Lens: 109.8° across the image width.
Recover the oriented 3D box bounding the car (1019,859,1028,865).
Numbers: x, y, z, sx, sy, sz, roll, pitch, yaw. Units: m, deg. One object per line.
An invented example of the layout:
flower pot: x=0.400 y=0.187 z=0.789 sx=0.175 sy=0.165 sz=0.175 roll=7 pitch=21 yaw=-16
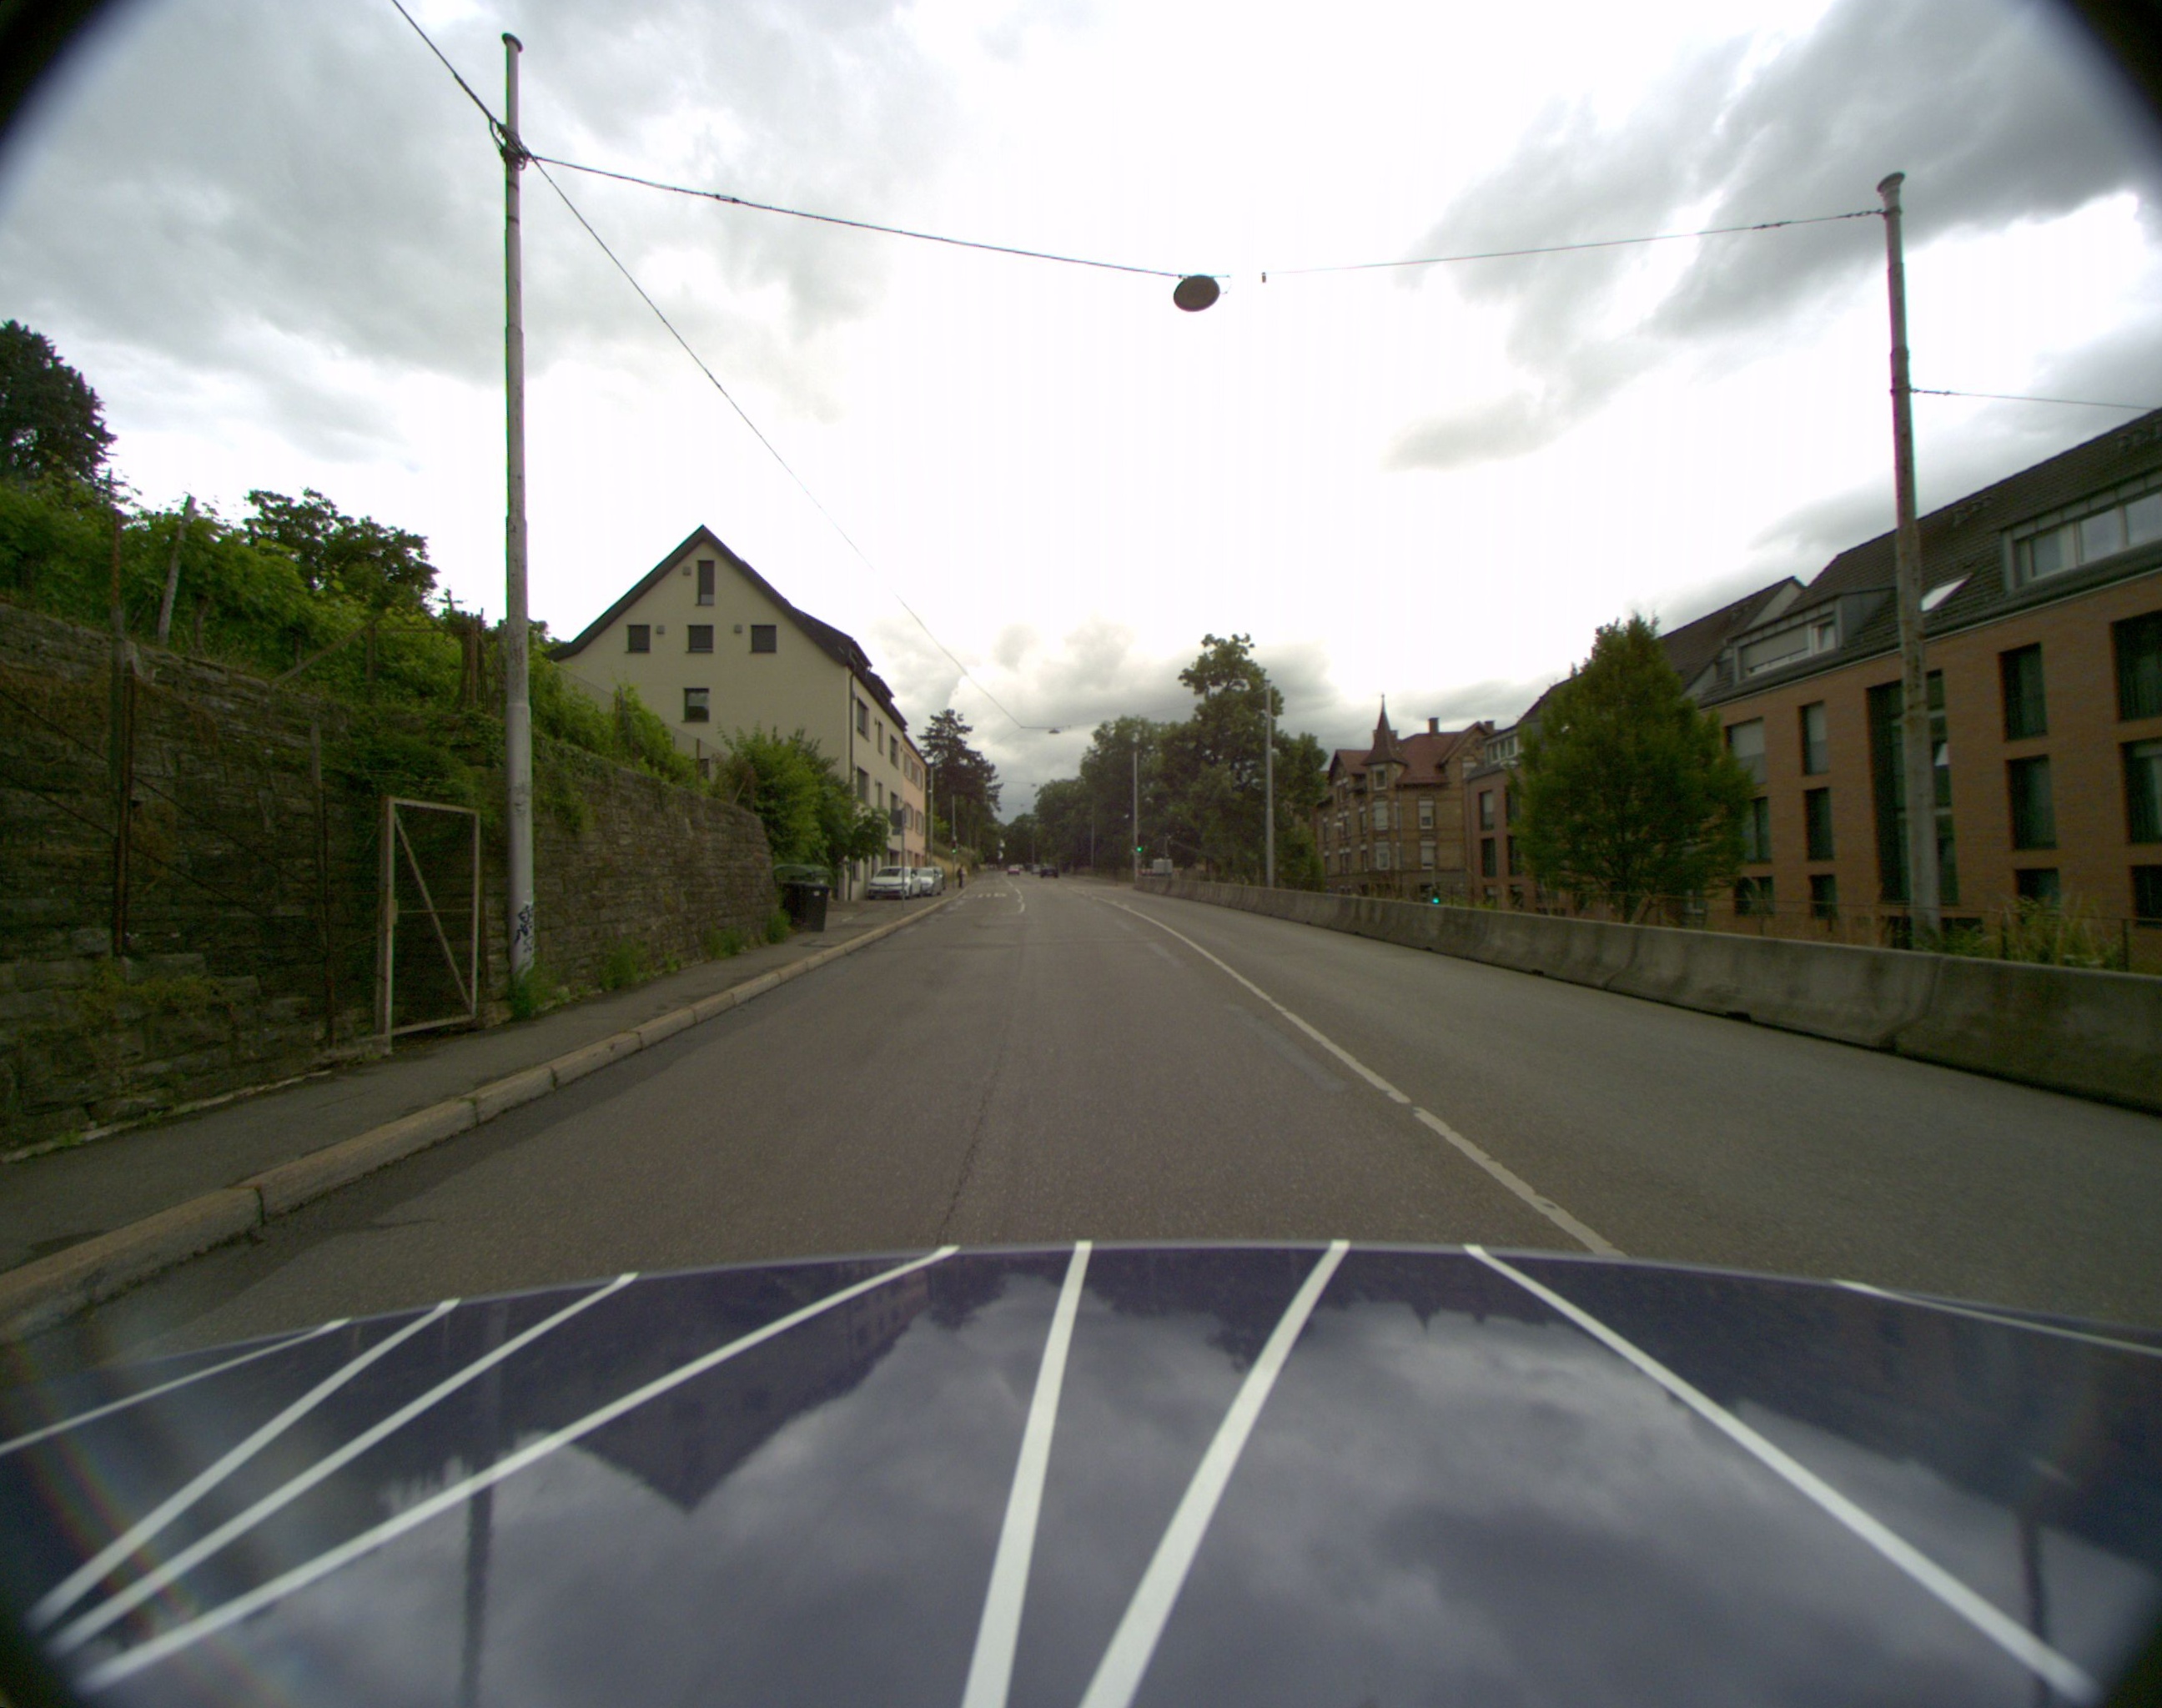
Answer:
car: x=-15.265 y=2.065 z=200.764 sx=1.998 sy=1.521 sz=4.000 roll=-2 pitch=0 yaw=1

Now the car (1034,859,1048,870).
car: x=-6.350 y=1.669 z=121.289 sx=1.998 sy=1.652 sz=4.000 roll=-1 pitch=0 yaw=1

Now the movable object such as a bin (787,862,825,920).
movable object such as a bin: x=-7.520 y=0.998 z=20.785 sx=0.753 sy=1.537 sz=1.064 roll=-1 pitch=0 yaw=-8

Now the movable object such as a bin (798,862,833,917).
movable object such as a bin: x=-7.695 y=1.013 z=22.075 sx=0.753 sy=1.533 sz=1.064 roll=-1 pitch=0 yaw=-8

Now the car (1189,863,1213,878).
car: x=13.606 y=1.852 z=86.406 sx=1.999 sy=1.543 sz=4.000 roll=-1 pitch=0 yaw=-1

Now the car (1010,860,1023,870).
car: x=-9.339 y=1.588 z=110.024 sx=1.646 sy=1.429 sz=3.999 roll=-1 pitch=-1 yaw=-3

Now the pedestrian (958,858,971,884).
pedestrian: x=-7.944 y=1.157 z=52.030 sx=0.735 sy=1.702 sz=0.696 roll=-1 pitch=0 yaw=2

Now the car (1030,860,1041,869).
car: x=-8.935 y=2.070 z=148.293 sx=1.999 sy=1.652 sz=3.999 roll=-1 pitch=0 yaw=-4

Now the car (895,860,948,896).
car: x=-7.871 y=1.147 z=37.870 sx=1.732 sy=1.566 sz=4.248 roll=-2 pitch=0 yaw=-1

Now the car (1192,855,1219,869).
car: x=12.060 y=0.765 z=73.769 sx=1.999 sy=1.346 sz=4.000 roll=0 pitch=0 yaw=-1

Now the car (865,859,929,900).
car: x=-7.945 y=1.079 z=33.163 sx=1.799 sy=1.566 sz=4.055 roll=-2 pitch=0 yaw=-1

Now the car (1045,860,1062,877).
car: x=-3.200 y=1.674 z=87.693 sx=1.787 sy=1.871 sz=3.999 roll=-1 pitch=0 yaw=-4

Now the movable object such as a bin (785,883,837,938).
movable object such as a bin: x=-5.842 y=1.210 z=16.508 sx=0.811 sy=1.120 sz=0.875 roll=-1 pitch=0 yaw=-2

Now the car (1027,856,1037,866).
car: x=-10.096 y=1.433 z=157.807 sx=1.999 sy=1.838 sz=3.999 roll=-2 pitch=0 yaw=-3

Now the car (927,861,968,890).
car: x=-8.092 y=1.261 z=46.303 sx=1.909 sy=1.566 sz=4.247 roll=-2 pitch=0 yaw=-3

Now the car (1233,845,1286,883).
car: x=12.862 y=0.647 z=55.187 sx=2.565 sy=2.567 sz=5.736 roll=-2 pitch=1 yaw=2

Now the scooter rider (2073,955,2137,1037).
scooter rider: x=22.236 y=3.076 z=16.509 sx=0.489 sy=1.694 sz=0.578 roll=0 pitch=-3 yaw=1
